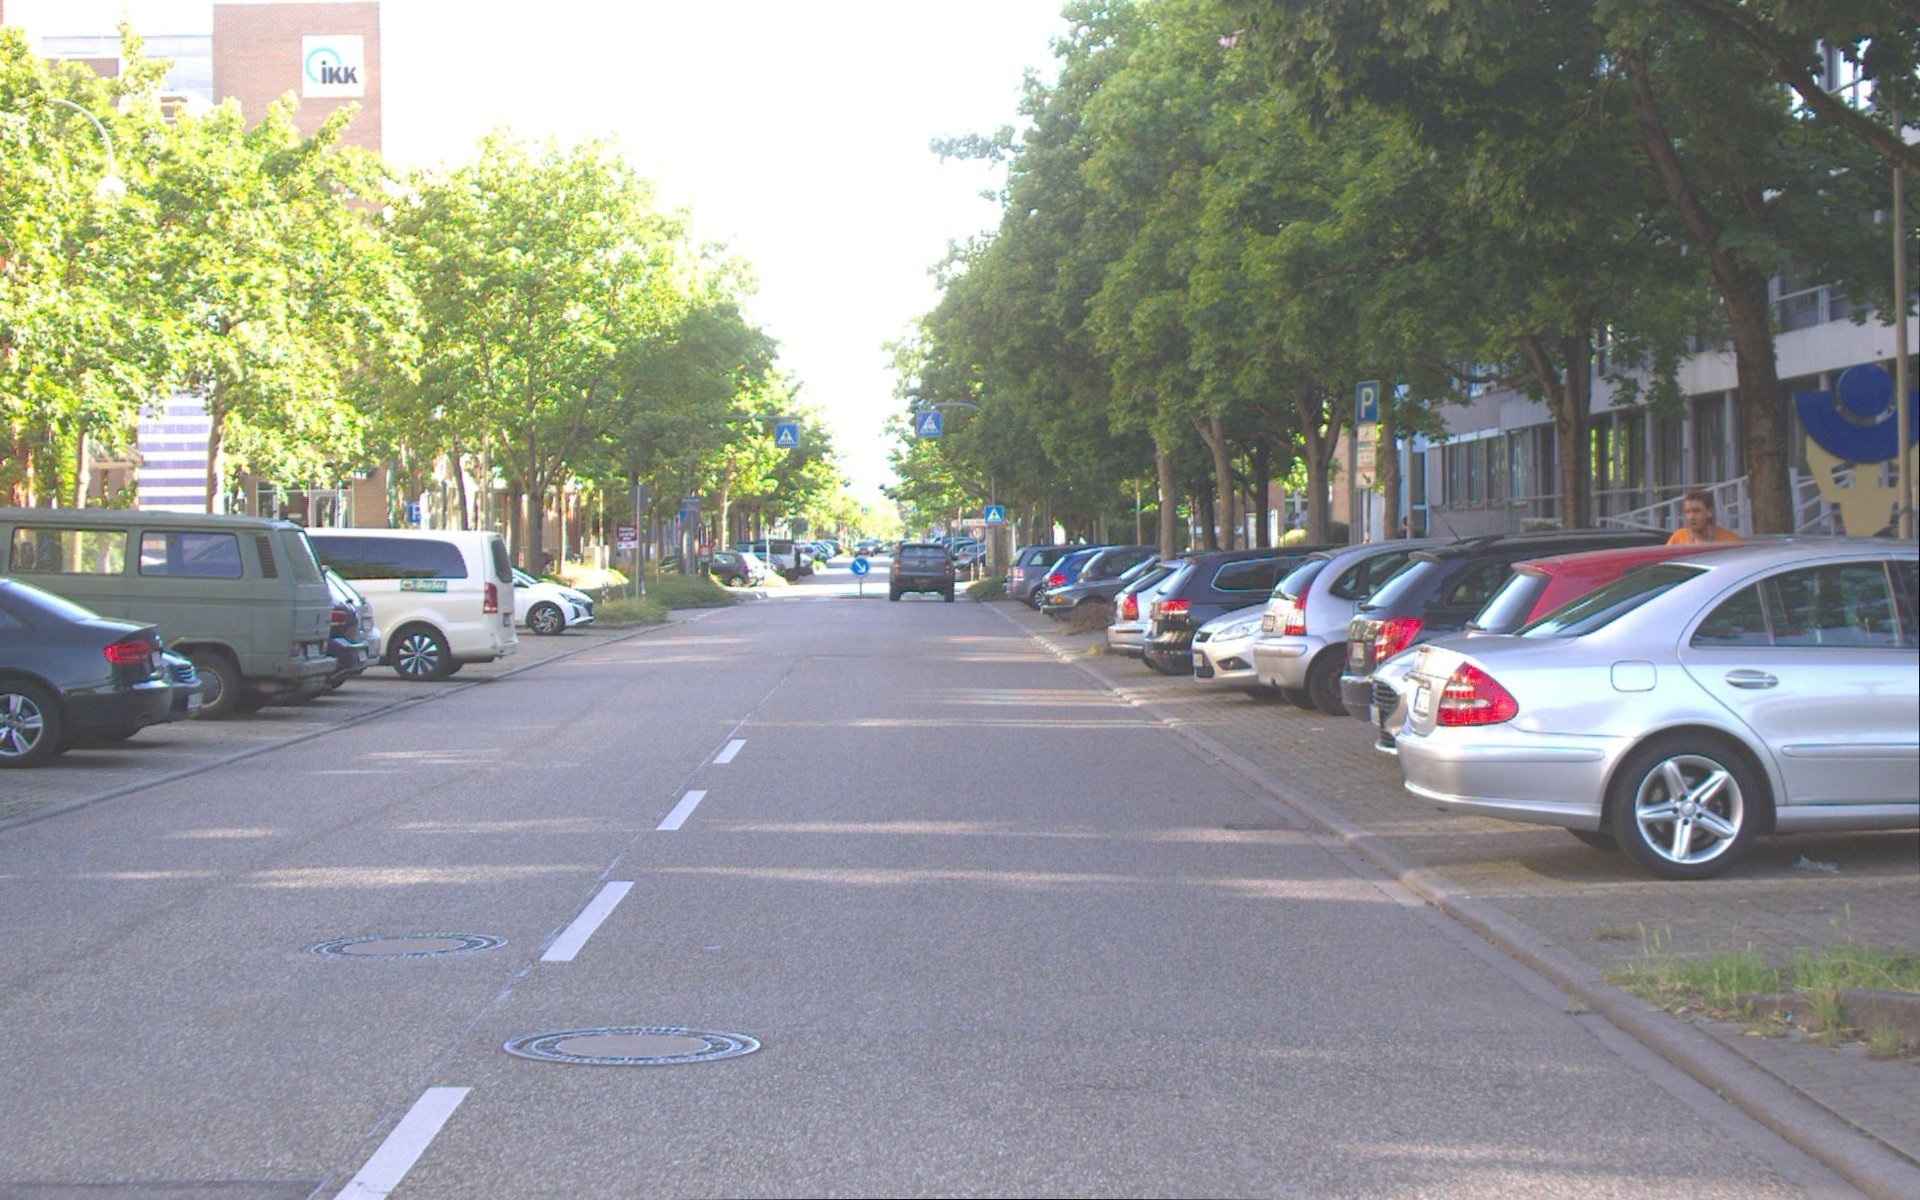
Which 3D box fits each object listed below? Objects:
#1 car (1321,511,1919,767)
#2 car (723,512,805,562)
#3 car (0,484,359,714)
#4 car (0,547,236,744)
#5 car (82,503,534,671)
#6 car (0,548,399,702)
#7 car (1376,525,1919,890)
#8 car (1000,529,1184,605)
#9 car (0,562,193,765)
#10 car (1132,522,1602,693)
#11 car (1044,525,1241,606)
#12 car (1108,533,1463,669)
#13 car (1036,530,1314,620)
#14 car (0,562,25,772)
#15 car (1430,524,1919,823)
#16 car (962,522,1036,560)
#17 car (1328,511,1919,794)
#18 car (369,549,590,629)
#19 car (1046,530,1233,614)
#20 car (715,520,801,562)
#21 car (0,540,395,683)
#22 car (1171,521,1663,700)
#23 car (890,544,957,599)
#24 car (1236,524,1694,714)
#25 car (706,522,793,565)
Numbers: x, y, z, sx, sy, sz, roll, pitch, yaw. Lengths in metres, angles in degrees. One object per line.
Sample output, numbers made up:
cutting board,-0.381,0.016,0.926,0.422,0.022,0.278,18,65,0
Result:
car,4.849,0.232,23.752,4.515,1.537,1.922,-2,1,3
car,-9.963,-3.217,175.004,3.987,2.532,1.862,0,1,4
car,-8.206,-0.043,32.895,4.488,2.082,2.083,1,1,2
car,-8.191,0.331,28.186,4.132,1.522,1.725,1,1,0
car,-8.064,-0.176,42.872,5.257,1.960,1.943,1,1,-1
car,-8.153,0.236,35.584,4.321,1.472,1.943,1,1,2
car,4.333,0.406,15.794,4.578,1.470,1.747,-3,1,0
car,3.265,-0.828,85.623,4.350,1.698,1.813,-2,1,-3
car,-7.667,0.432,25.410,3.725,1.422,1.725,1,1,-6
car,4.179,0.060,35.801,4.591,1.488,1.763,-3,1,-1
car,3.762,-0.727,71.426,3.949,1.509,1.813,-2,1,1
car,3.853,-0.005,41.057,3.969,1.415,1.711,-2,1,-2
car,3.897,-0.472,62.892,4.824,1.415,2.032,-2,1,-2
car,-8.401,0.438,23.178,3.726,1.422,1.725,1,1,-1
car,4.595,0.343,18.734,3.838,1.442,1.922,-2,1,3
car,2.137,-3.241,189.823,3.986,2.007,2.000,-1,1,-2
car,4.620,0.276,21.267,4.515,1.537,1.922,-2,1,3
car,-9.099,-0.213,65.300,3.986,1.481,1.807,0,1,-2
car,3.571,-0.580,68.940,3.641,1.509,1.813,-2,1,1
car,-10.010,-2.926,170.570,3.987,2.007,2.000,-1,1,3
car,-8.643,0.106,38.306,4.321,1.472,1.943,1,1,2
car,4.344,0.078,33.091,4.284,1.488,2.004,-3,1,-6
car,-1.147,-0.904,106.834,1.993,1.634,4.000,1,1,-1
car,4.468,0.147,30.729,3.742,1.488,1.617,-2,1,-4
car,-10.216,-2.734,167.163,3.987,2.007,2.000,-1,1,3
